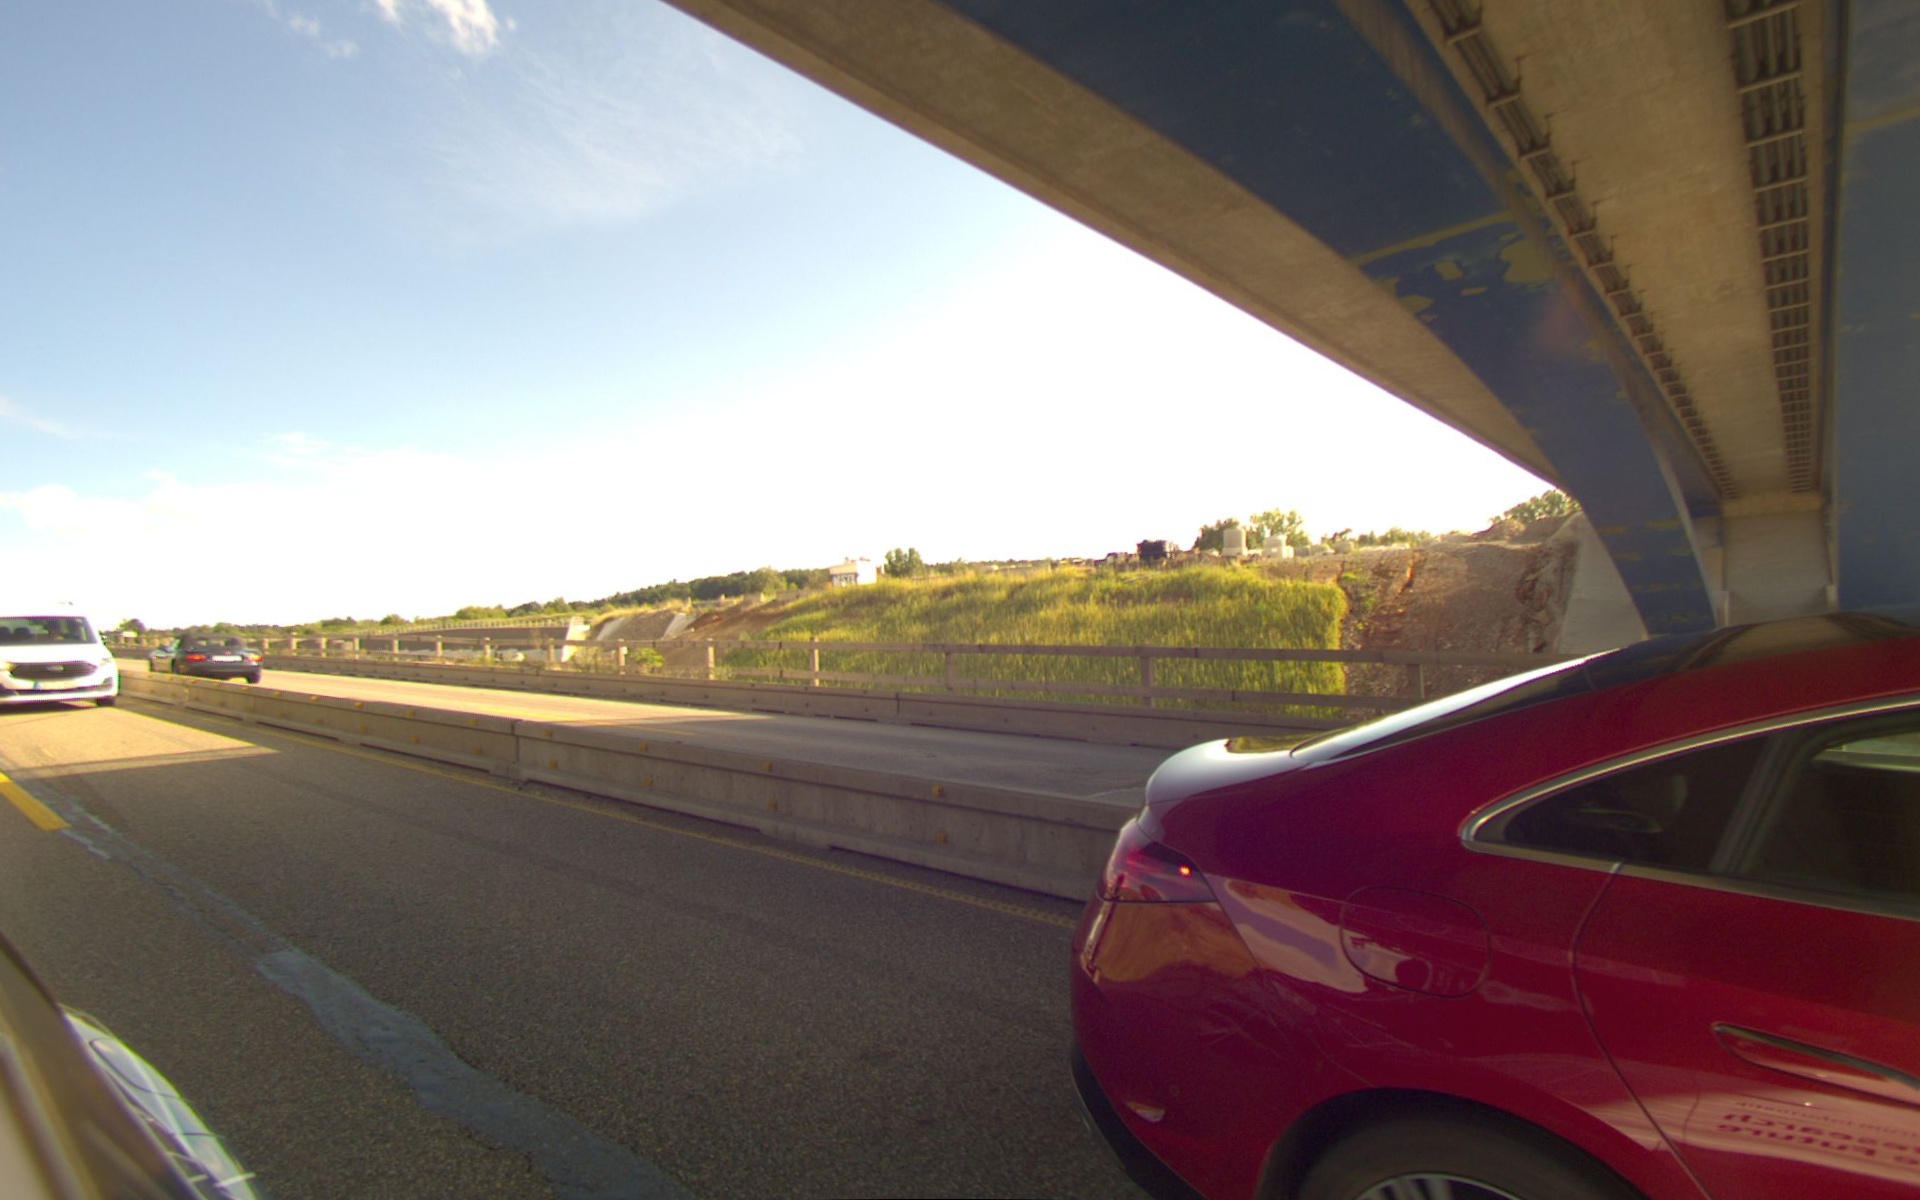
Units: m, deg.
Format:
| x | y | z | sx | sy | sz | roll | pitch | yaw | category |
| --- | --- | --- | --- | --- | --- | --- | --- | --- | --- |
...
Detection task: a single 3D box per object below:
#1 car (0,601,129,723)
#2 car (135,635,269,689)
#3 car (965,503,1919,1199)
| x | y | z | sx | sy | sz | roll | pitch | yaw | category |
| --- | --- | --- | --- | --- | --- | --- | --- | --- | --- |
| -16.109 | 1.014 | 17.546 | 4.452 | 1.837 | 1.805 | -2 | 0 | 40 | car |
| -17.951 | 1.439 | 23.897 | 4.216 | 1.164 | 1.651 | -2 | -4 | 41 | car |
| 2.370 | 0.614 | 1.245 | 4.682 | 1.503 | 1.804 | -2 | -1 | 41 | car |
